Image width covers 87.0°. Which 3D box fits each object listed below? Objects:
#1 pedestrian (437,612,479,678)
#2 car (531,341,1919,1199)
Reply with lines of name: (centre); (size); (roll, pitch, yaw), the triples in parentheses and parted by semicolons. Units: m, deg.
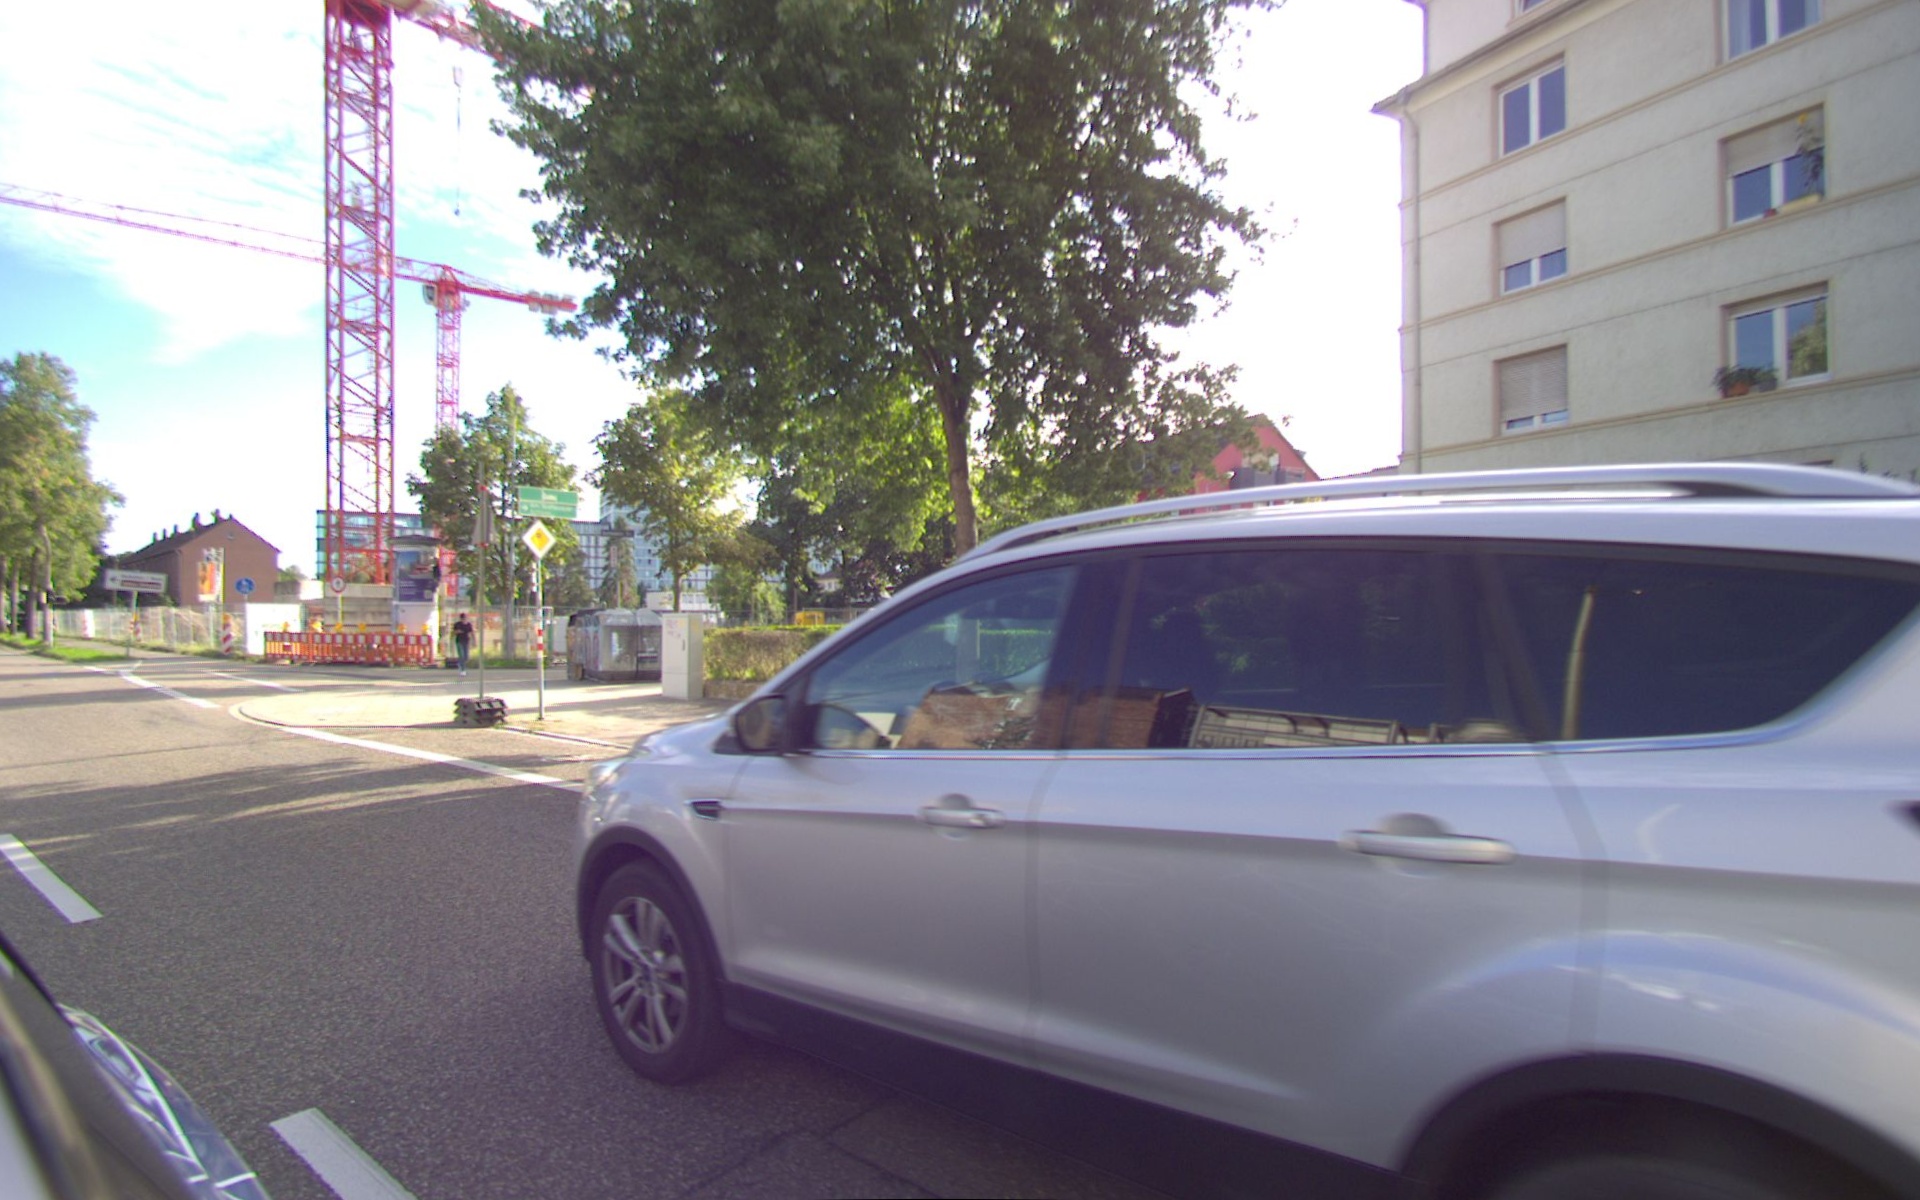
pedestrian: (-13.861, 1.246, 27.947); (0.774, 1.782, 0.734); (-2, -3, 39)
car: (0.756, 0.539, 2.677); (4.081, 1.681, 1.811); (-1, 1, 40)
